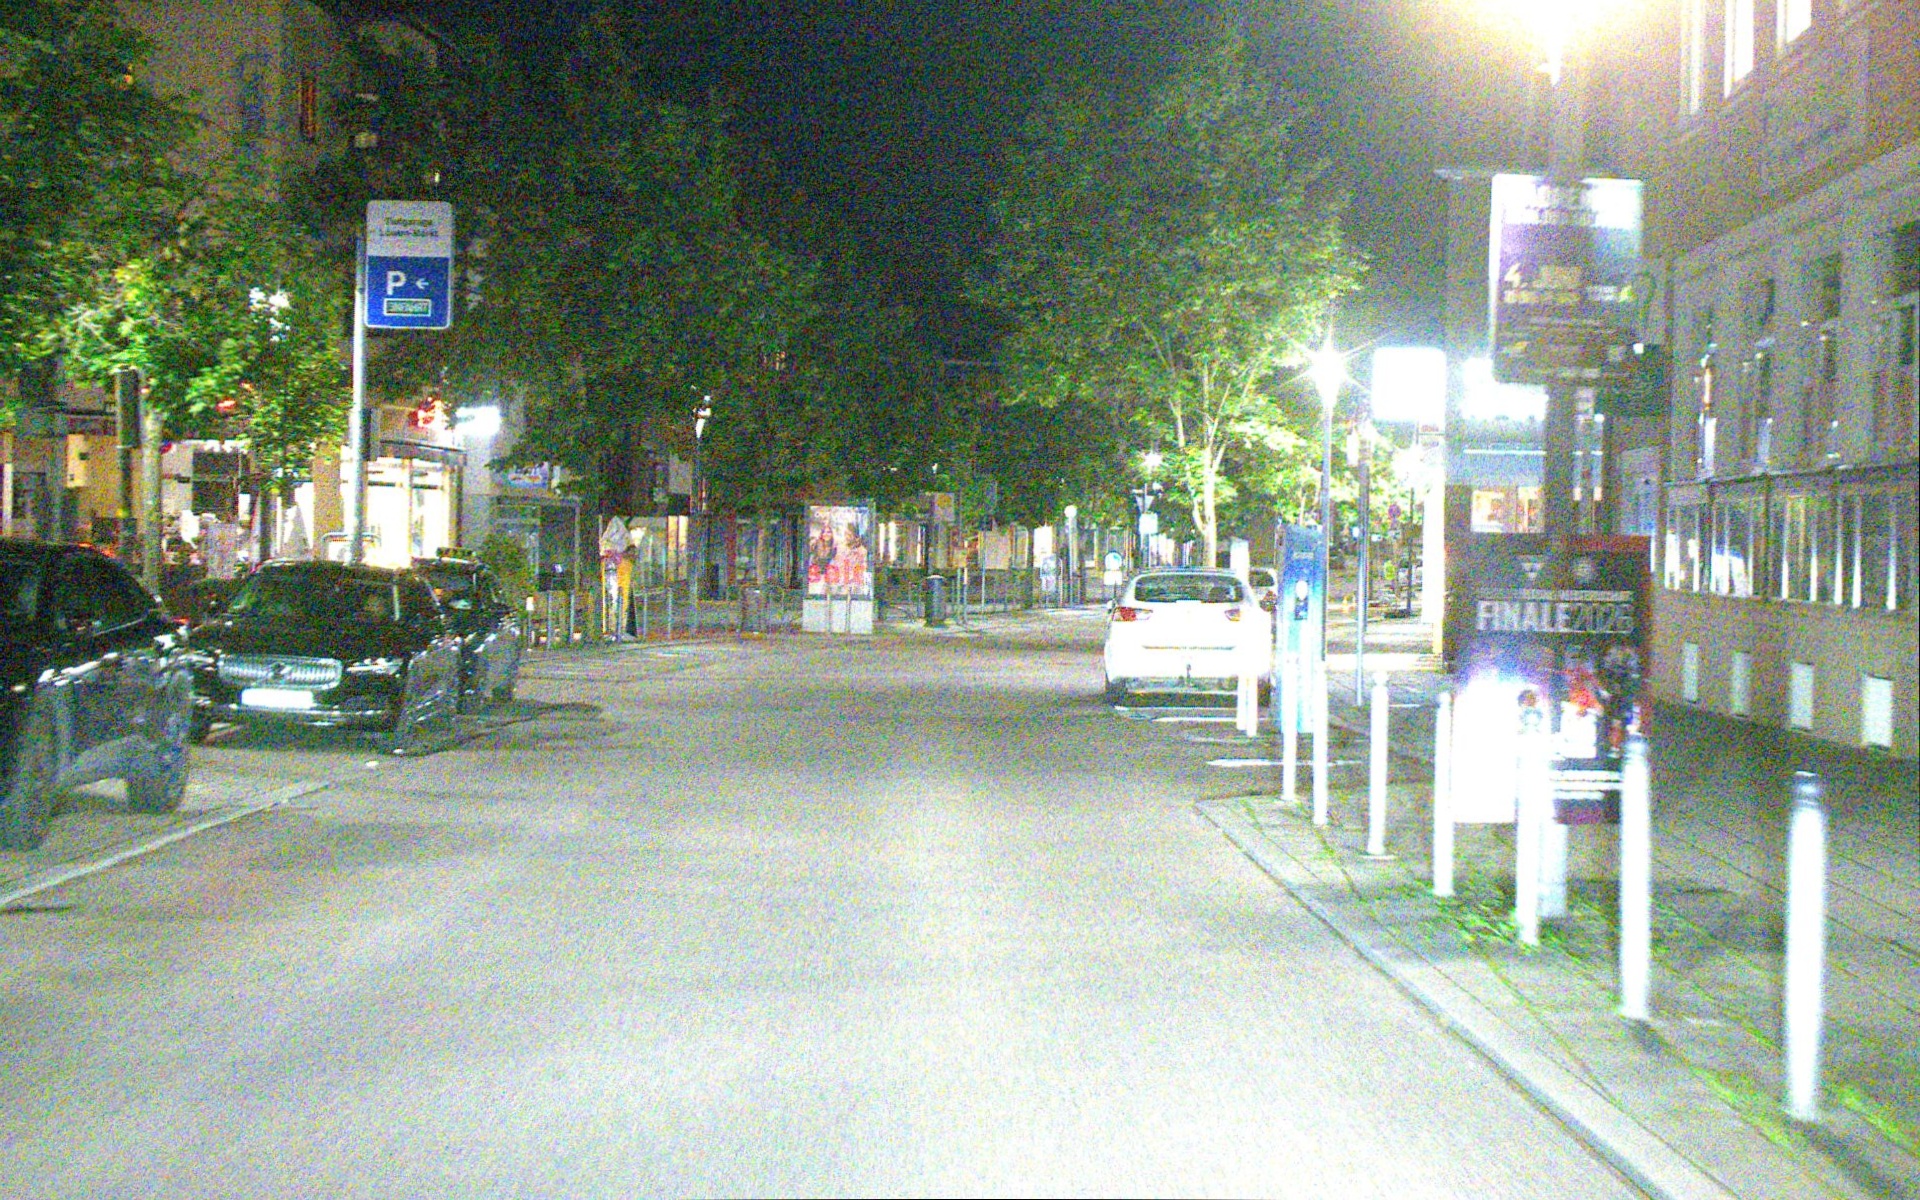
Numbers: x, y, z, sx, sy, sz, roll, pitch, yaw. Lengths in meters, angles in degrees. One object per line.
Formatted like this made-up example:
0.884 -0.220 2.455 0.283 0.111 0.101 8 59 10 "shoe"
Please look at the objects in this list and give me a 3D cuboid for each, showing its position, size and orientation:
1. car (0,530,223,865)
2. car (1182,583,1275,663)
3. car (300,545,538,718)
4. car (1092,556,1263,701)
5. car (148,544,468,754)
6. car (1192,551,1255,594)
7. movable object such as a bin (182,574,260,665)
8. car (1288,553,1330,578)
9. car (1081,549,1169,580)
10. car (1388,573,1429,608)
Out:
-5.315 0.414 18.079 1.771 1.568 4.483 2 0 1 "car"
5.269 0.420 67.102 1.734 1.436 4.496 1 1 5 "car"
-5.471 0.267 35.317 1.758 1.632 4.815 1 1 -1 "car"
2.340 0.308 37.860 1.742 1.482 4.636 1 0 2 "car"
-5.298 0.339 28.526 1.905 1.536 4.782 2 1 -3 "car"
11.113 -1.176 144.804 2.019 1.685 5.000 3 1 11 "car"
-8.777 0.233 40.873 0.747 1.061 0.792 1 0 0 "movable object such as a bin"
20.127 -2.004 198.167 1.915 1.366 4.455 1 2 12 "car"
8.445 -1.838 176.044 4.170 1.433 1.840 -2 0 14 "car"
19.443 -0.430 149.030 1.675 1.454 3.674 1 1 9 "car"
